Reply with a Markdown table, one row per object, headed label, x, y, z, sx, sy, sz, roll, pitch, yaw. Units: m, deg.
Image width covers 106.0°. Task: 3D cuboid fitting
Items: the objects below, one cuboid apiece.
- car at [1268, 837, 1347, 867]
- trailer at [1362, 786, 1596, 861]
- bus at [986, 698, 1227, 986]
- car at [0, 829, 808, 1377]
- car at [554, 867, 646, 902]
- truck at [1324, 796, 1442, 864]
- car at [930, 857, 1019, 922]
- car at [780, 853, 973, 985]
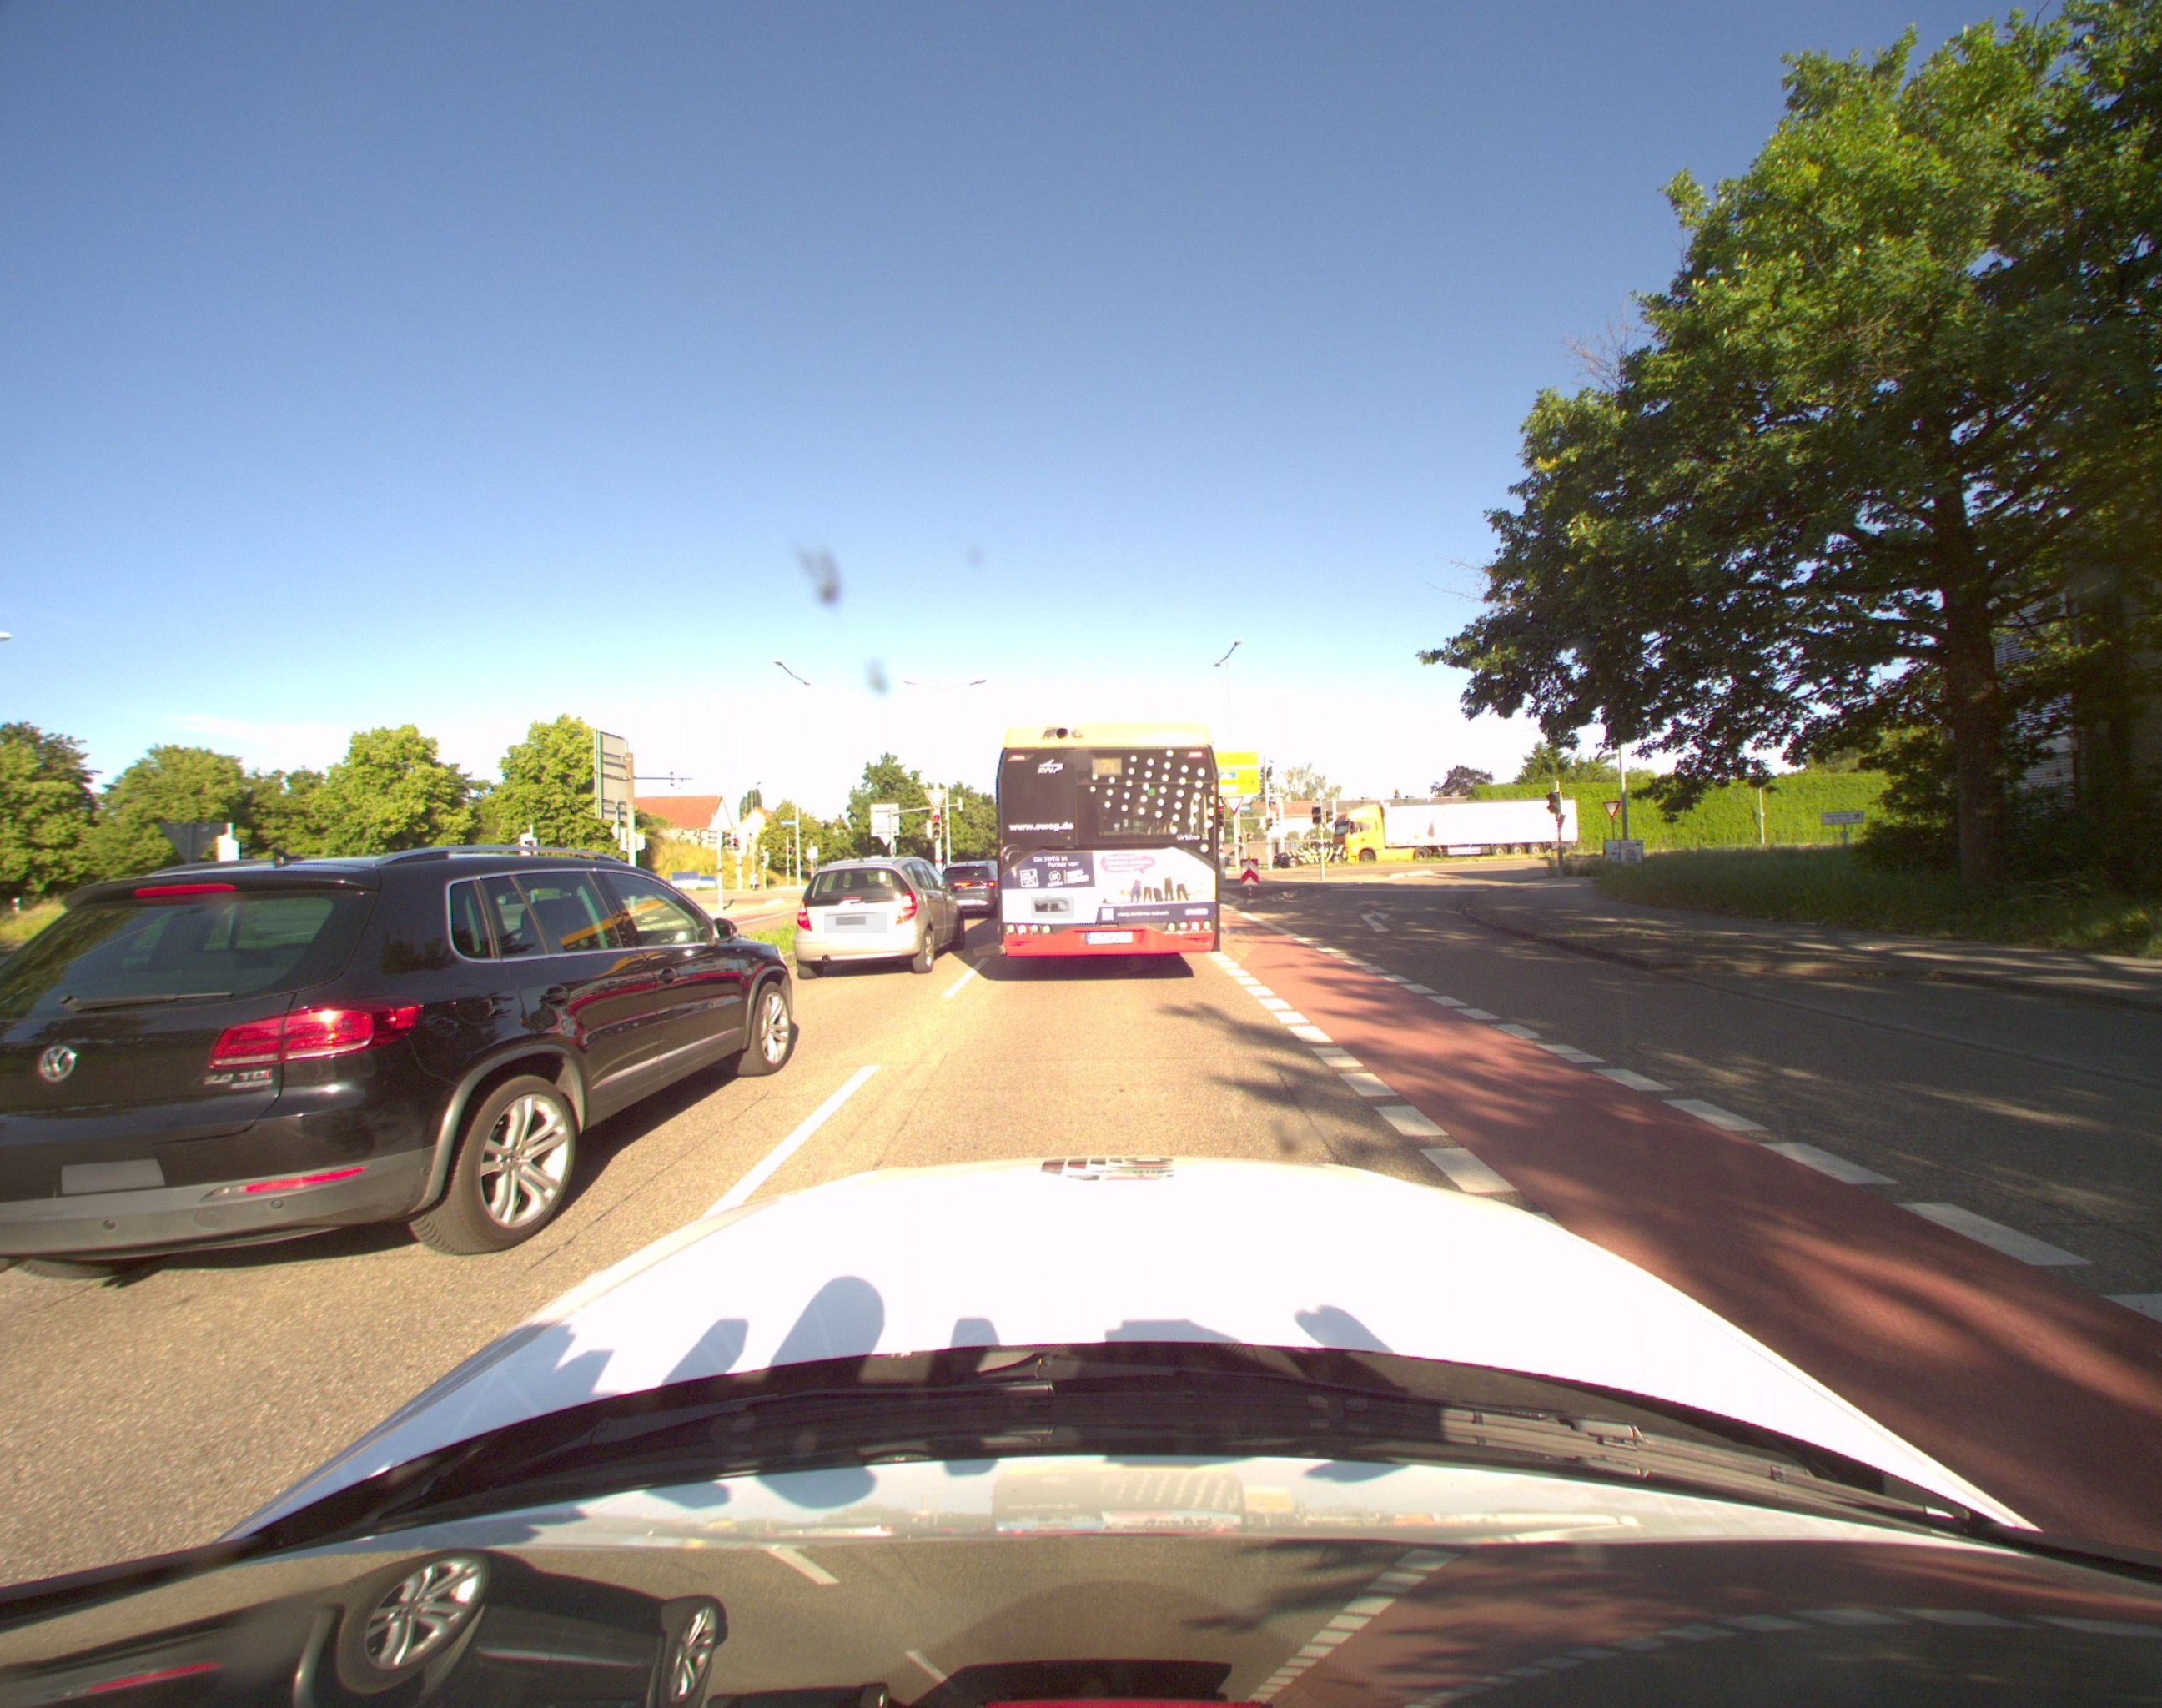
| label | x | y | z | sx | sy | sz | roll | pitch | yaw |
| --- | --- | --- | --- | --- | --- | --- | --- | --- | --- |
| car | 13.177 | -0.118 | 47.505 | 4.059 | 1.526 | 1.766 | -3 | 0 | -4 |
| trailer | 27.126 | -2.020 | 55.821 | 14.635 | 4.012 | 3.434 | -4 | 0 | -6 |
| bus | 0.523 | -0.162 | 15.016 | 2.632 | 3.167 | 11.867 | -1 | 0 | 2 |
| car | -3.170 | 0.801 | 4.552 | 1.766 | 1.653 | 4.001 | -3 | 0 | 1 |
| car | -24.574 | 1.542 | 41.668 | 3.577 | 1.560 | 1.747 | -2 | 0 | -5 |
| truck | 20.332 | -1.543 | 55.129 | 6.466 | 4.012 | 3.434 | -4 | 0 | -5 |
| car | -2.690 | 0.860 | 21.312 | 1.686 | 1.458 | 3.751 | -3 | 0 | 1 |
| car | -2.875 | 0.827 | 12.378 | 1.755 | 1.589 | 4.001 | -3 | 0 | 1 |
